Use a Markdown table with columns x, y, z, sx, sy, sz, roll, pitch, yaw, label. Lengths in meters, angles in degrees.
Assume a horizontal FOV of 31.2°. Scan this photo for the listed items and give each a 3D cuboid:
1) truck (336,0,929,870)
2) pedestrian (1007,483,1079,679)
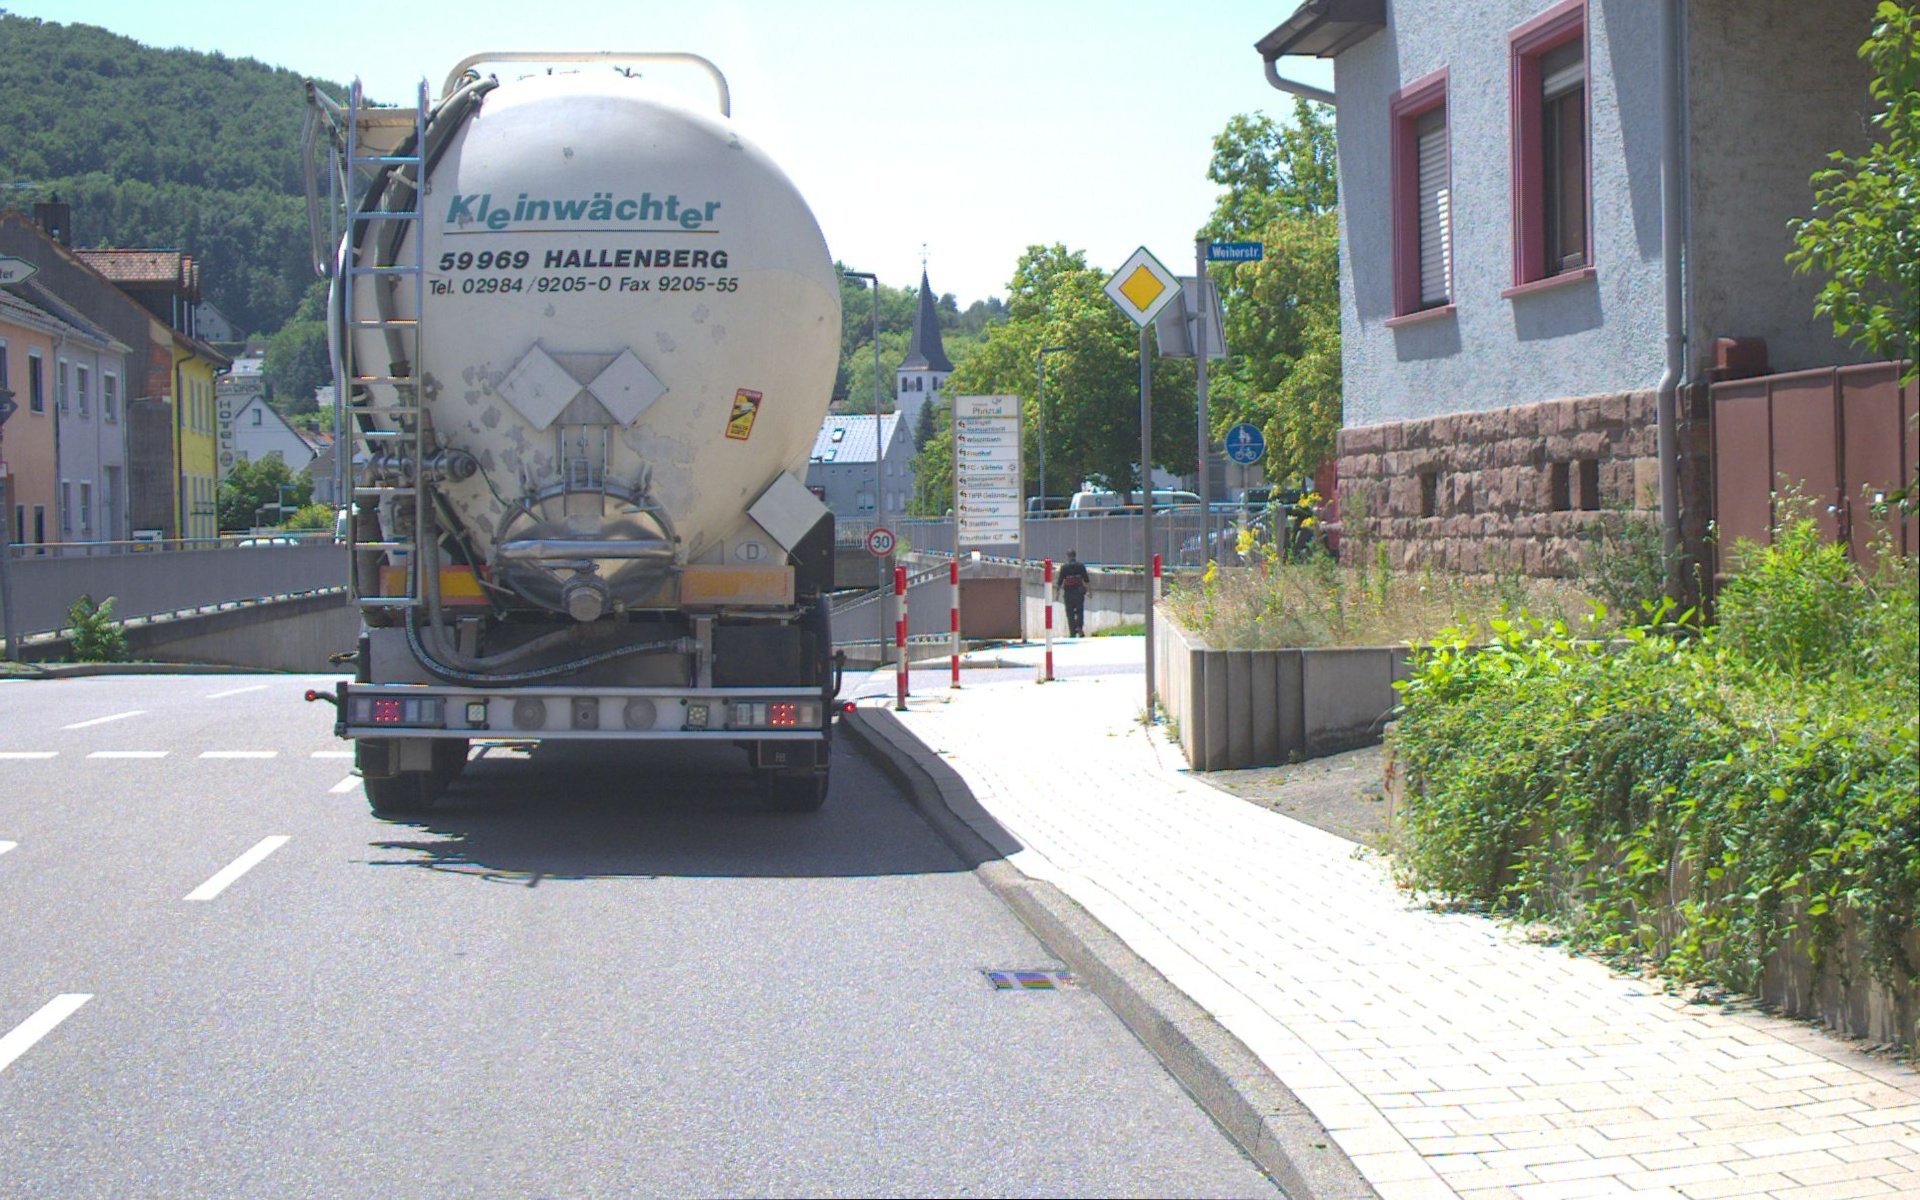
| x | y | z | sx | sy | sz | roll | pitch | yaw | label |
| --- | --- | --- | --- | --- | --- | --- | --- | --- | --- |
| -2.144 | -0.882 | 21.449 | 2.749 | 4.043 | 10.892 | 0 | 1 | -7 | truck |
| 0.722 | -0.165 | 29.973 | 0.571 | 1.688 | 0.721 | 1 | 0 | -2 | pedestrian |
